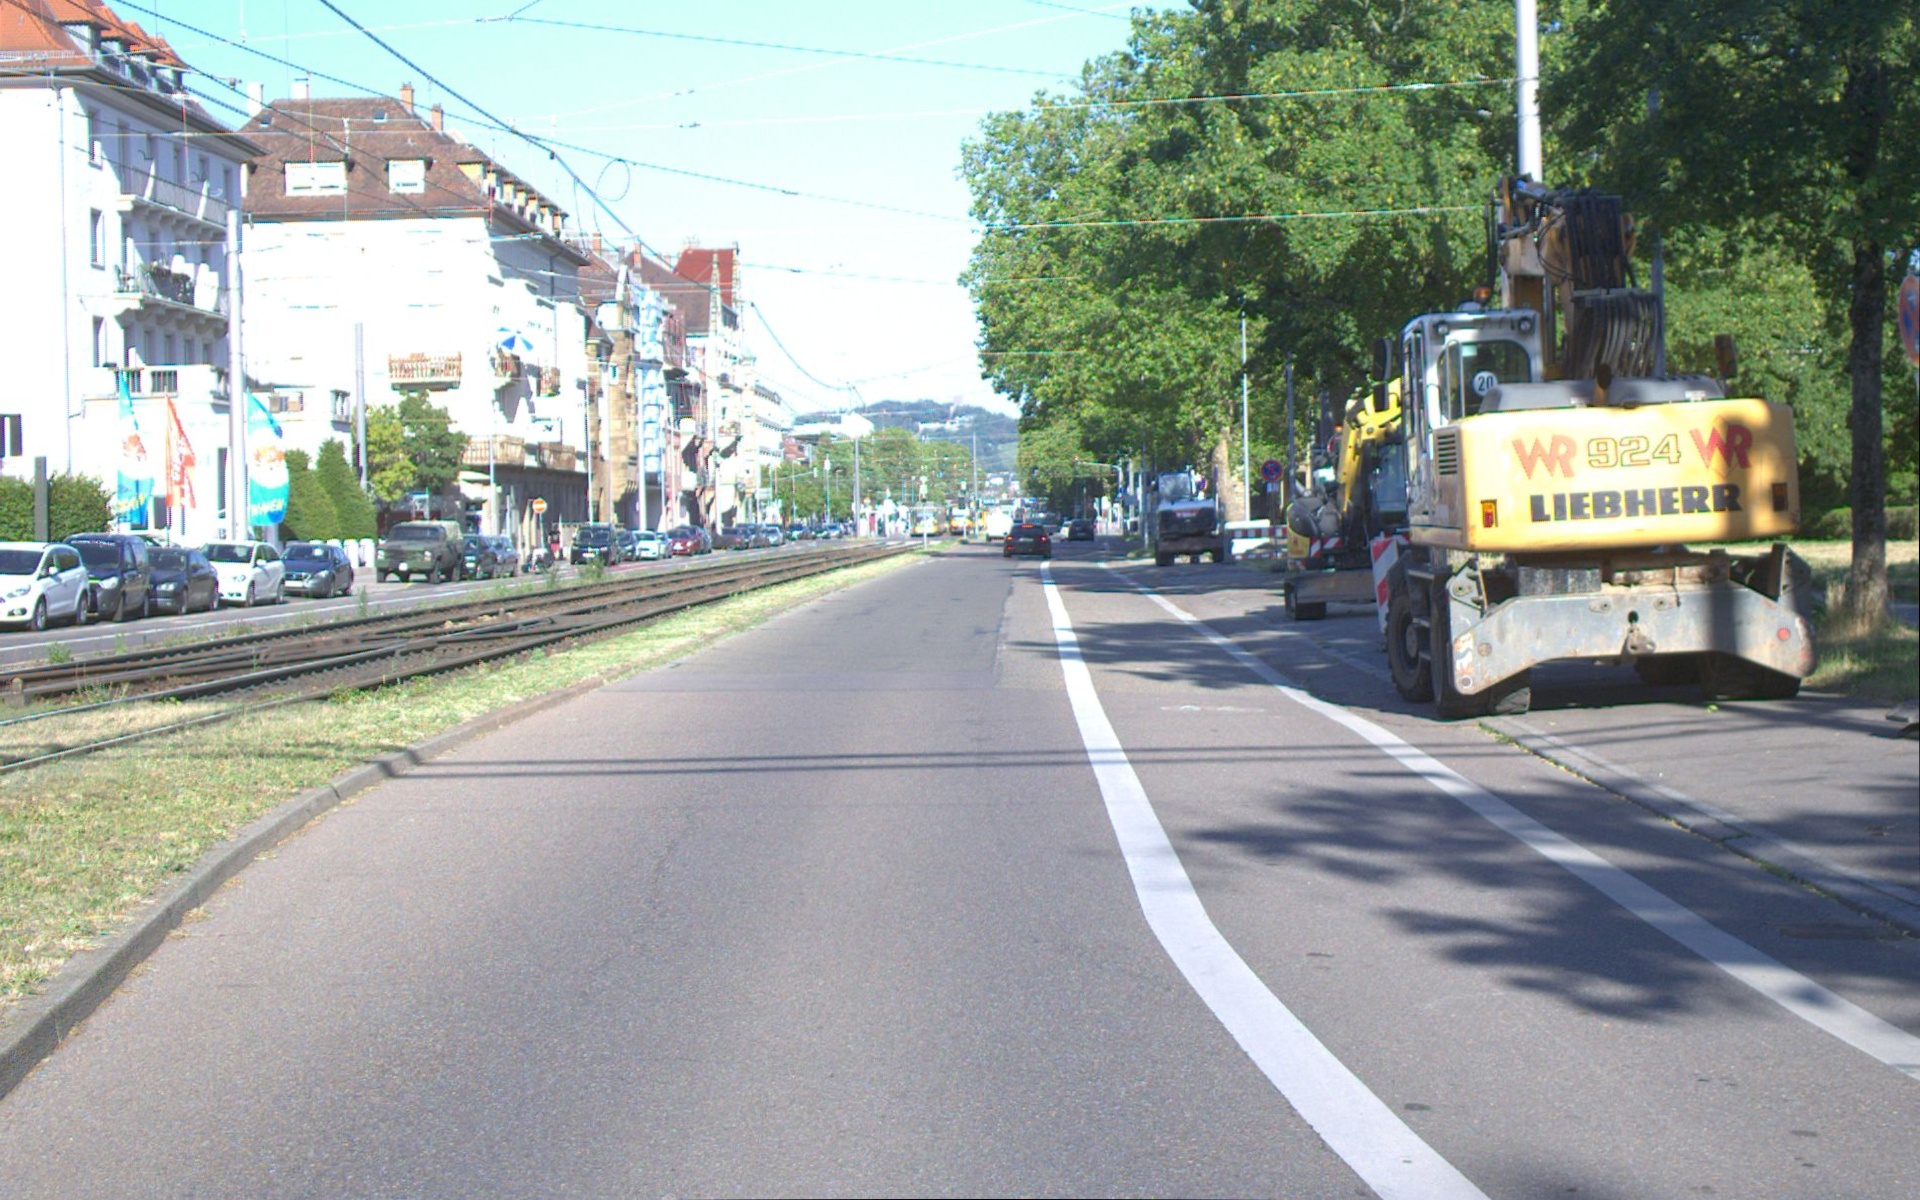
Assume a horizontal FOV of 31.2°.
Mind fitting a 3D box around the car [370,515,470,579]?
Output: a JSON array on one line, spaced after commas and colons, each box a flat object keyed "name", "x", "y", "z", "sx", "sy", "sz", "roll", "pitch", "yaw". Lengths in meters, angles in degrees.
[{"name": "car", "x": -17.593, "y": -1.761, "z": 112.283, "sx": 2.077, "sy": 2.003, "sz": 5.591, "roll": 1, "pitch": 1, "yaw": 3}]

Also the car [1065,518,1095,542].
[{"name": "car", "x": 7.679, "y": -4.473, "z": 220.400, "sx": 1.794, "sy": 1.505, "sz": 4.000, "roll": 0, "pitch": 1, "yaw": 1}]

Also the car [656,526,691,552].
[{"name": "car", "x": -16.120, "y": -3.417, "z": 193.288, "sx": 1.833, "sy": 1.386, "sz": 4.036, "roll": 2, "pitch": 1, "yaw": -4}]

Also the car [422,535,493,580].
[{"name": "car", "x": -17.305, "y": -1.470, "z": 118.551, "sx": 1.635, "sy": 1.502, "sz": 4.159, "roll": 0, "pitch": 0, "yaw": 3}]

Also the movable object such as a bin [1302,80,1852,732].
[{"name": "movable object such as a bin", "x": 4.917, "y": -1.510, "z": 29.077, "sx": 2.914, "sy": 4.594, "sz": 7.599, "roll": -4, "pitch": 1, "yaw": -1}]

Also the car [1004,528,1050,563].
[{"name": "car", "x": 2.732, "y": -2.237, "z": 140.216, "sx": 1.833, "sy": 1.386, "sz": 4.159, "roll": 0, "pitch": 1, "yaw": 1}]

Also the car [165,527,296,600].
[{"name": "car", "x": -17.729, "y": -0.915, "z": 83.774, "sx": 1.921, "sy": 1.688, "sz": 4.842, "roll": 1, "pitch": 1, "yaw": 3}]

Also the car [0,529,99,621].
[{"name": "car", "x": -18.329, "y": -0.520, "z": 66.853, "sx": 1.920, "sy": 1.678, "sz": 4.627, "roll": 0, "pitch": 1, "yaw": 1}]

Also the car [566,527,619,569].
[{"name": "car", "x": -16.587, "y": -2.364, "z": 155.254, "sx": 1.862, "sy": 1.780, "sz": 4.402, "roll": 1, "pitch": 2, "yaw": 0}]

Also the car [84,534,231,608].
[{"name": "car", "x": -17.998, "y": -0.672, "z": 77.360, "sx": 1.921, "sy": 1.555, "sz": 4.842, "roll": 1, "pitch": 1, "yaw": 3}]

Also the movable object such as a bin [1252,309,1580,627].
[{"name": "movable object such as a bin", "x": 6.317, "y": -1.818, "z": 48.969, "sx": 3.338, "sy": 3.962, "sz": 7.599, "roll": -4, "pitch": 1, "yaw": -1}]

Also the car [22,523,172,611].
[{"name": "car", "x": -18.090, "y": -0.725, "z": 72.248, "sx": 1.920, "sy": 1.774, "sz": 4.498, "roll": 0, "pitch": 1, "yaw": 1}]

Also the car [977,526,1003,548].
[{"name": "car", "x": 2.102, "y": -4.445, "z": 242.724, "sx": 1.794, "sy": 1.505, "sz": 4.000, "roll": 1, "pitch": 1, "yaw": 1}]

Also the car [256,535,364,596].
[{"name": "car", "x": -17.526, "y": -0.954, "z": 92.895, "sx": 1.920, "sy": 1.456, "sz": 4.842, "roll": 4, "pitch": 1, "yaw": 0}]

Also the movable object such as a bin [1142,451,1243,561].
[{"name": "movable object such as a bin", "x": 7.286, "y": -2.973, "z": 108.437, "sx": 2.744, "sy": 3.134, "sz": 7.219, "roll": -4, "pitch": 1, "yaw": 2}]
